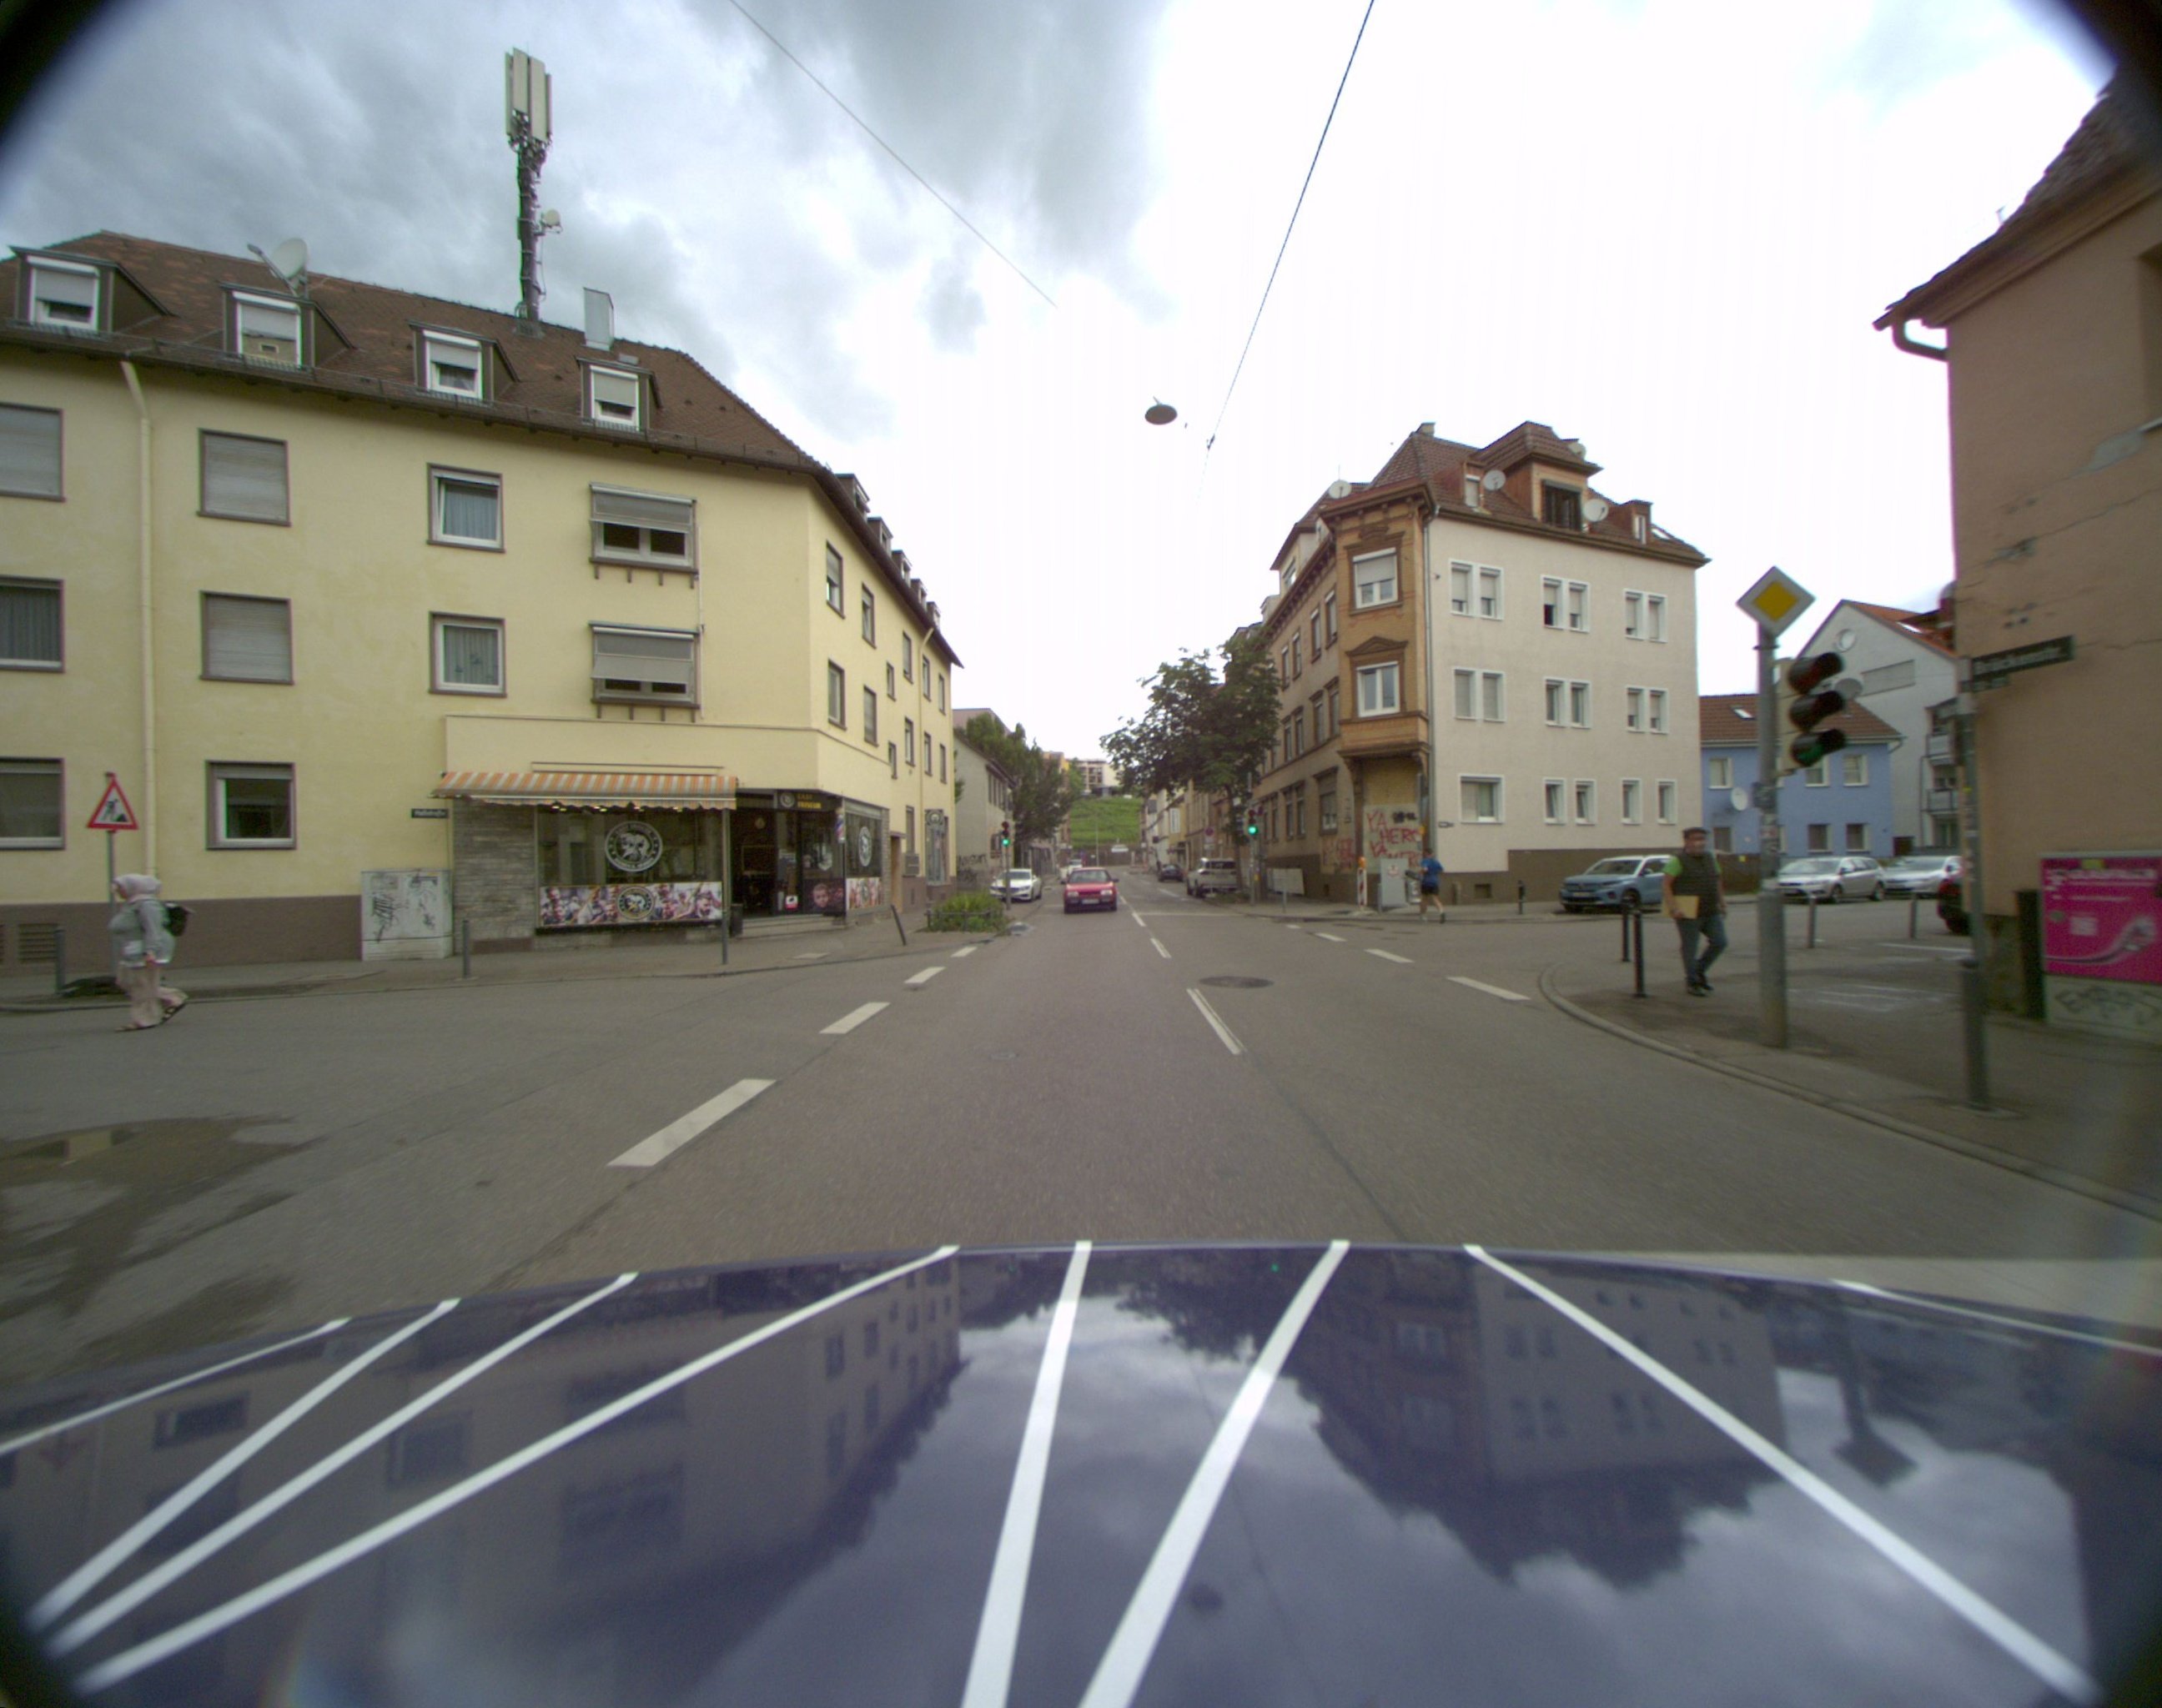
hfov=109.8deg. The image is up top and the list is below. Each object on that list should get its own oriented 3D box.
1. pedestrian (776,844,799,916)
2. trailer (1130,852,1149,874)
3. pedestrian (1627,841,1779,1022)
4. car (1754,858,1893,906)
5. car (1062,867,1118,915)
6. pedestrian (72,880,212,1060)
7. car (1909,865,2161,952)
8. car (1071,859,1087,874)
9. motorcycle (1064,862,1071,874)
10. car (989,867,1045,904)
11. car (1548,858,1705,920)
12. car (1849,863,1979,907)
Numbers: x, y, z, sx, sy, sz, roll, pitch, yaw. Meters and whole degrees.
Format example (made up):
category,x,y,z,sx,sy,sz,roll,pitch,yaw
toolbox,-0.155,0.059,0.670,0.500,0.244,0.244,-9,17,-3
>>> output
category,x,y,z,sx,sy,sz,roll,pitch,yaw
pedestrian,-7.327,0.631,18.946,0.397,1.764,0.386,-3,1,-33
trailer,7.783,1.173,101.449,2.450,2.787,6.304,0,0,3
pedestrian,6.449,0.765,7.940,0.740,1.744,0.983,-2,0,1
car,24.069,0.886,24.648,3.853,1.445,1.756,1,-1,-20
car,0.369,1.164,25.132,1.626,1.387,4.001,-1,0,3
pedestrian,-9.404,1.108,7.648,0.677,1.654,0.799,-1,1,-36
car,18.474,0.957,14.654,4.392,1.435,1.909,0,0,-21
car,-0.260,1.719,106.142,1.998,1.970,4.878,-1,0,1
motorcycle,-1.472,1.526,83.350,0.648,1.219,2.337,-2,0,1
car,-2.801,1.372,34.446,1.771,1.457,4.785,-2,0,4
car,15.205,0.917,21.216,3.726,1.542,1.772,-1,0,-20
car,29.124,1.056,26.571,3.853,1.445,1.756,1,-1,-20
